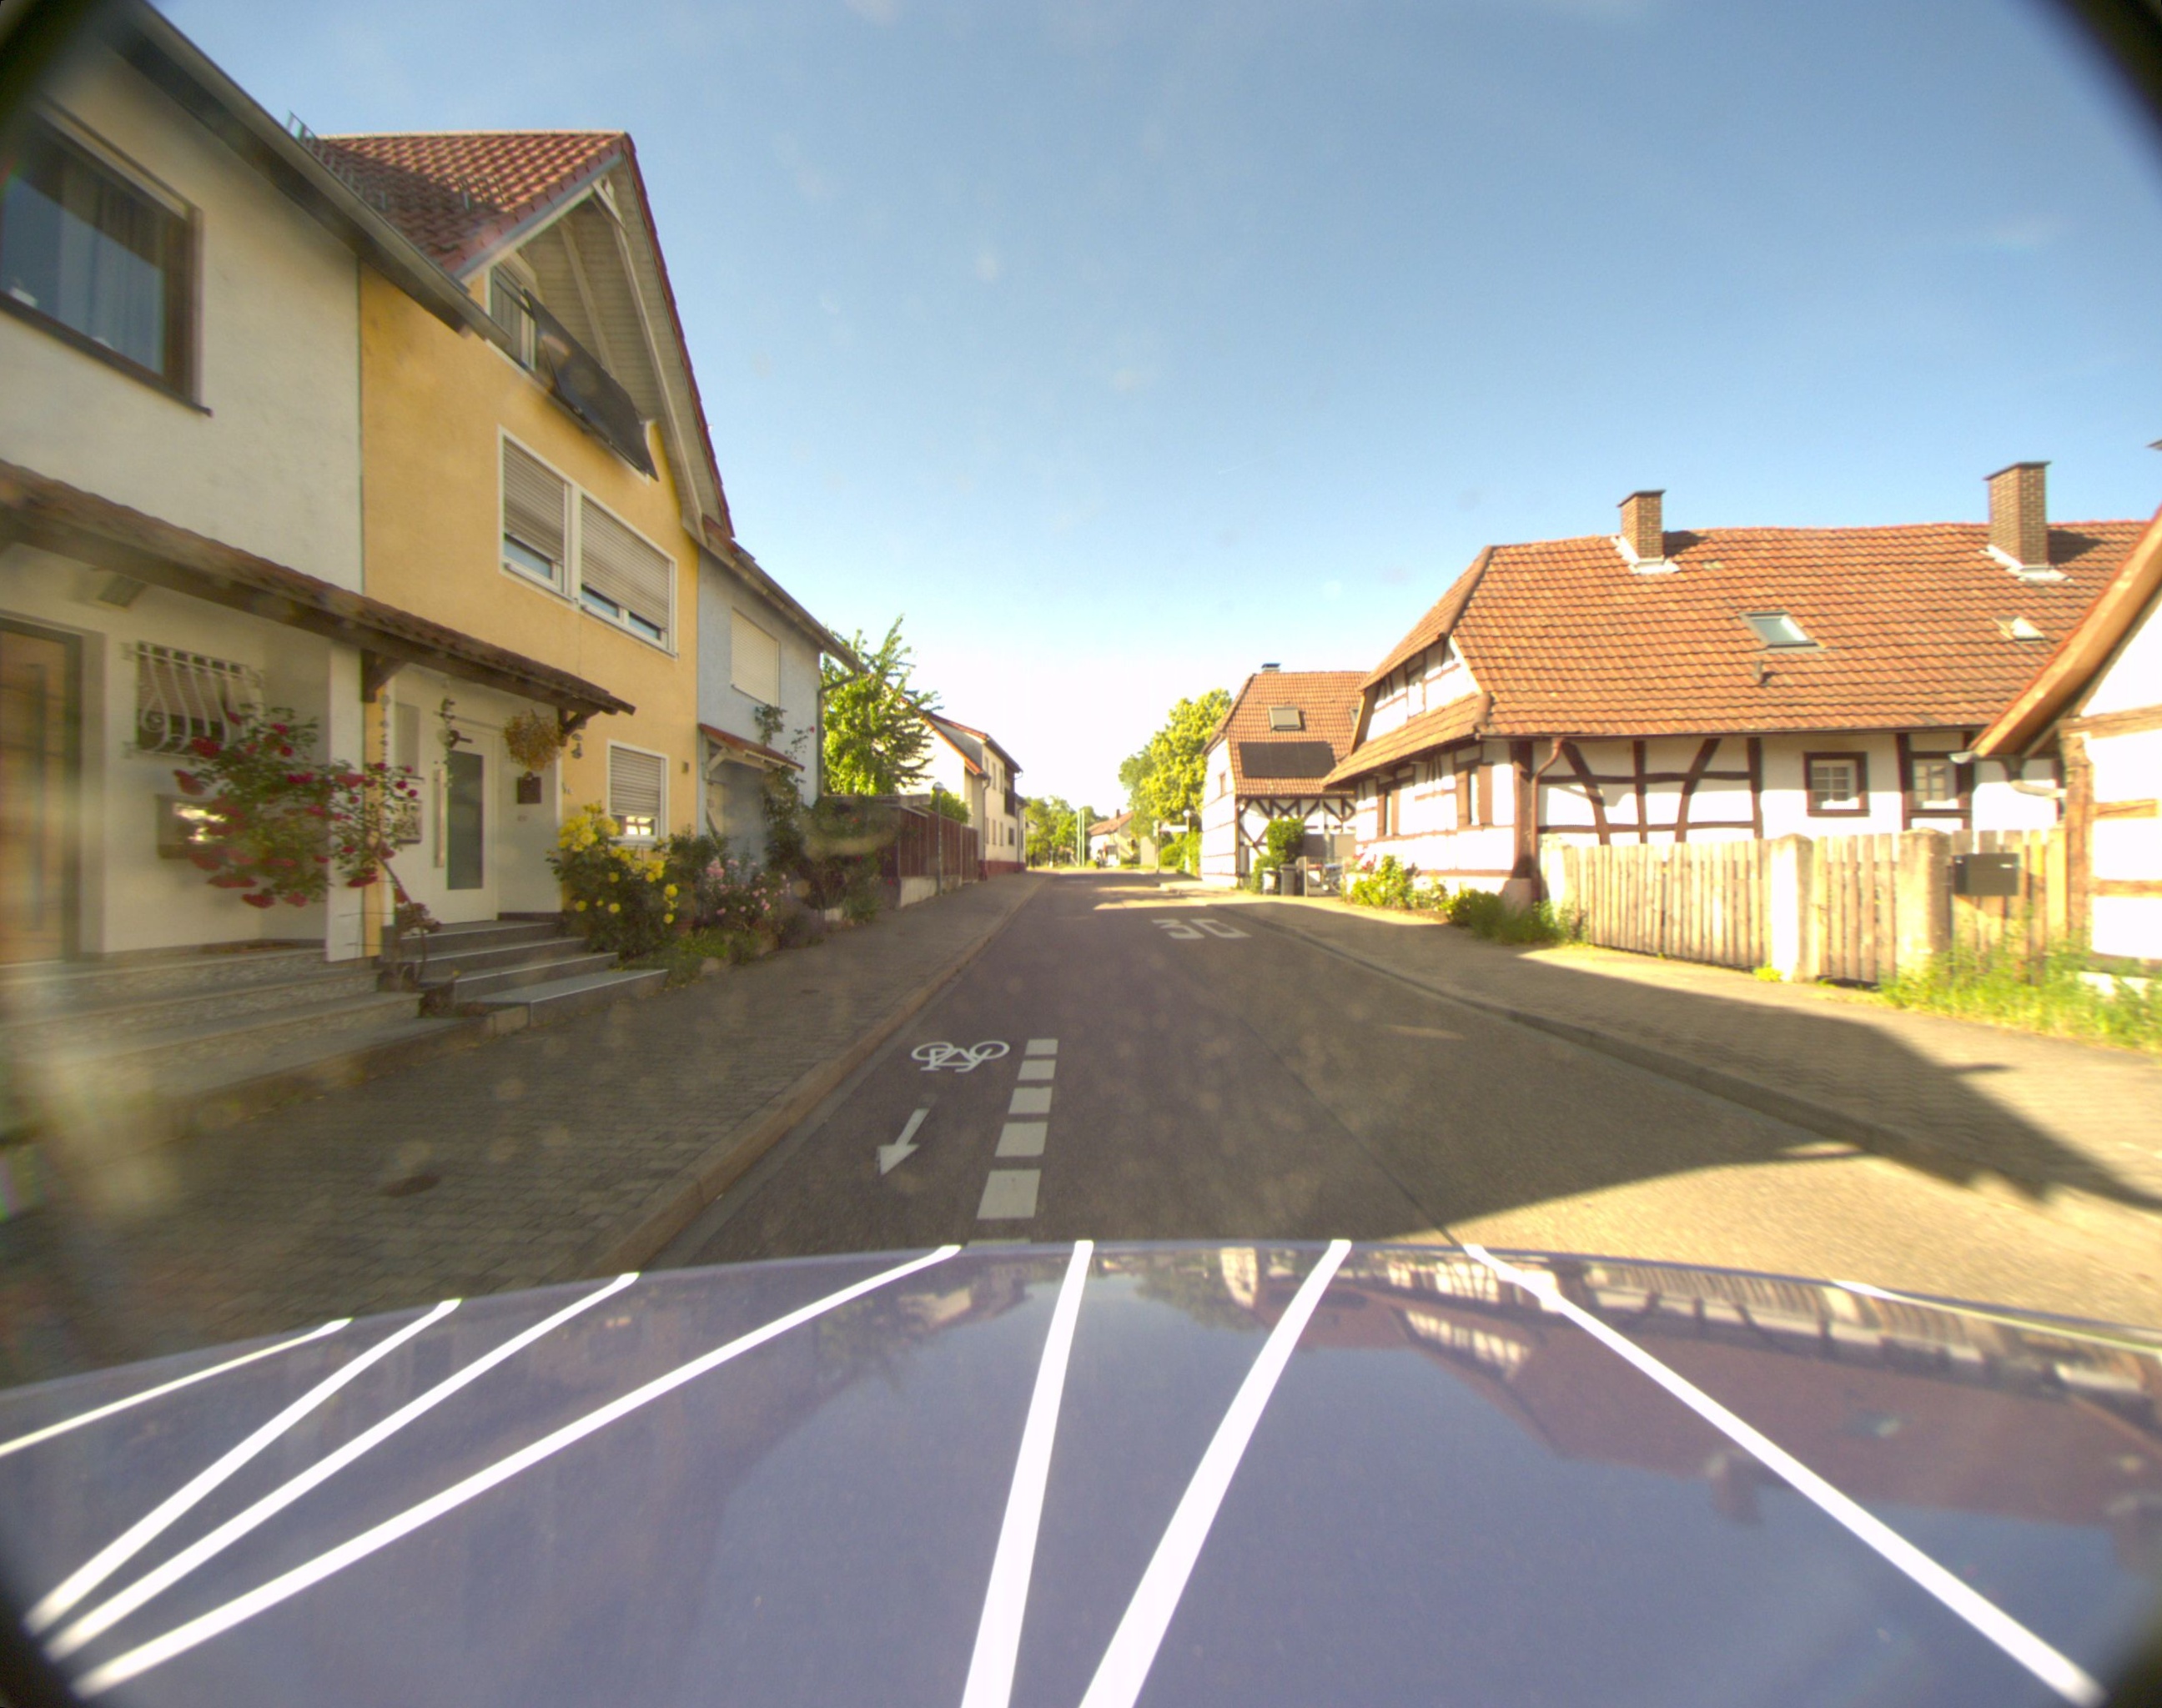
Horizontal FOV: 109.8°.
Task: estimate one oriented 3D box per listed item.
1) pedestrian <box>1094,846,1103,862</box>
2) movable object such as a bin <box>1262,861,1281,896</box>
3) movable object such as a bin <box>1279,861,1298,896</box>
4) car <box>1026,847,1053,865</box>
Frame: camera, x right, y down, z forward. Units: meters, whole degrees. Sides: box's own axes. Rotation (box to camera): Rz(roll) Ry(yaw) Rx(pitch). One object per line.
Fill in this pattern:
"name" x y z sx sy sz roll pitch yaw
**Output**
"pedestrian" 2.035 -0.011 86.573 0.716 1.793 0.772 -1 2 29
"movable object such as a bin" 6.351 0.812 25.384 0.477 1.134 0.667 0 1 0
"movable object such as a bin" 6.928 0.807 25.384 0.477 1.134 0.667 0 1 0
"car" -4.583 0.262 83.406 1.967 1.908 4.572 -1 0 -15
